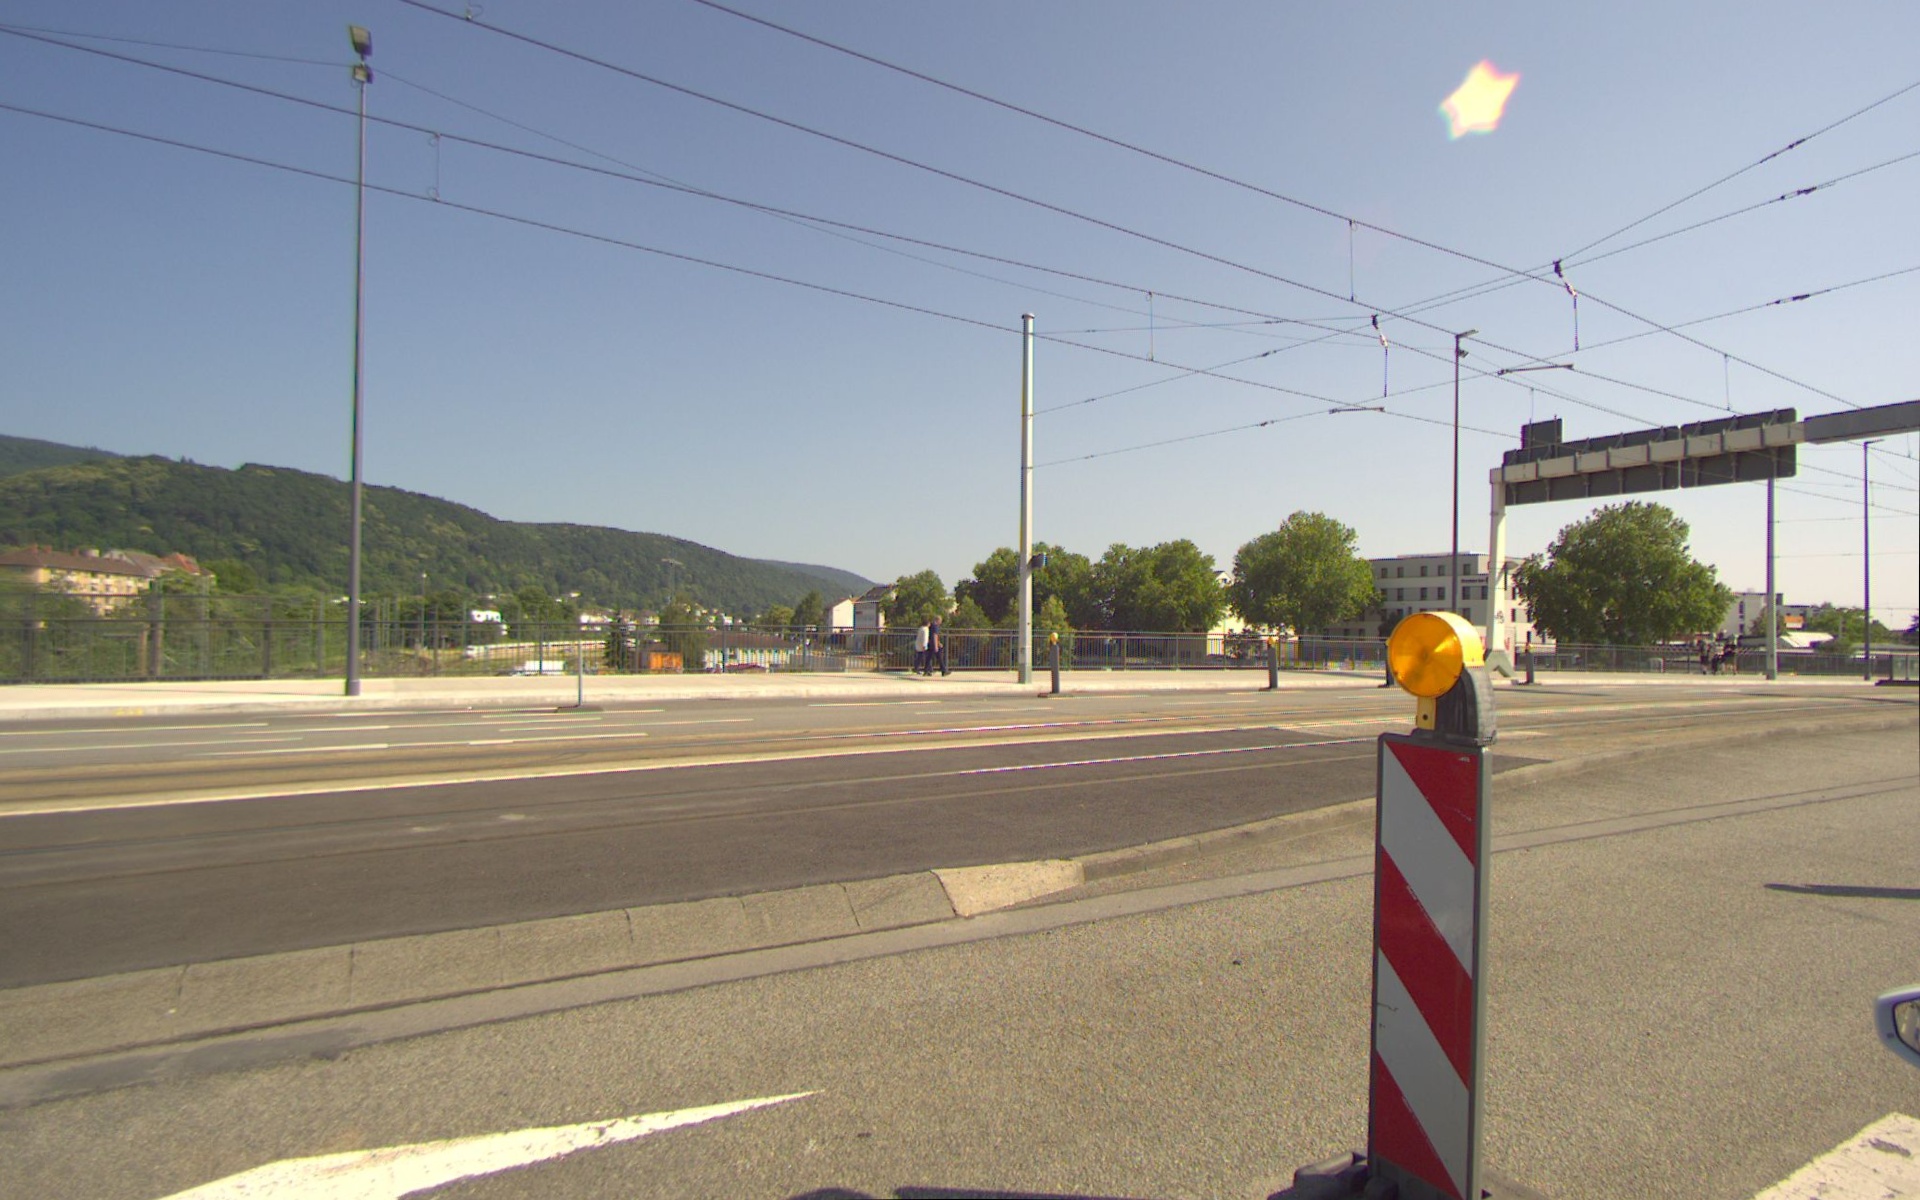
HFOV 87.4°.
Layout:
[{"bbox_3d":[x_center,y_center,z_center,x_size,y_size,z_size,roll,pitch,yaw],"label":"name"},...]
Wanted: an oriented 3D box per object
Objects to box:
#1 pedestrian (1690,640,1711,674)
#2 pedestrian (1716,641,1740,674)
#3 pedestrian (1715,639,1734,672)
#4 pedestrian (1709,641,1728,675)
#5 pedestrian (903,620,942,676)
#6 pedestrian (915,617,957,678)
[{"bbox_3d":[37.857,2.914,51.363,0.807,1.709,0.595,2,-2,-27],"label":"pedestrian"},{"bbox_3d":[39.702,2.962,51.912,0.722,1.709,0.750,2,-2,-27],"label":"pedestrian"},{"bbox_3d":[40.338,2.928,52.997,0.763,1.709,0.502,2,-2,-27],"label":"pedestrian"},{"bbox_3d":[38.496,2.948,50.997,0.797,1.709,0.484,2,-2,-27],"label":"pedestrian"},{"bbox_3d":[-1.092,1.386,29.326,0.878,1.565,0.716,1,1,-31],"label":"pedestrian"},{"bbox_3d":[-0.688,1.340,28.652,0.884,1.663,0.740,1,1,-31],"label":"pedestrian"}]
